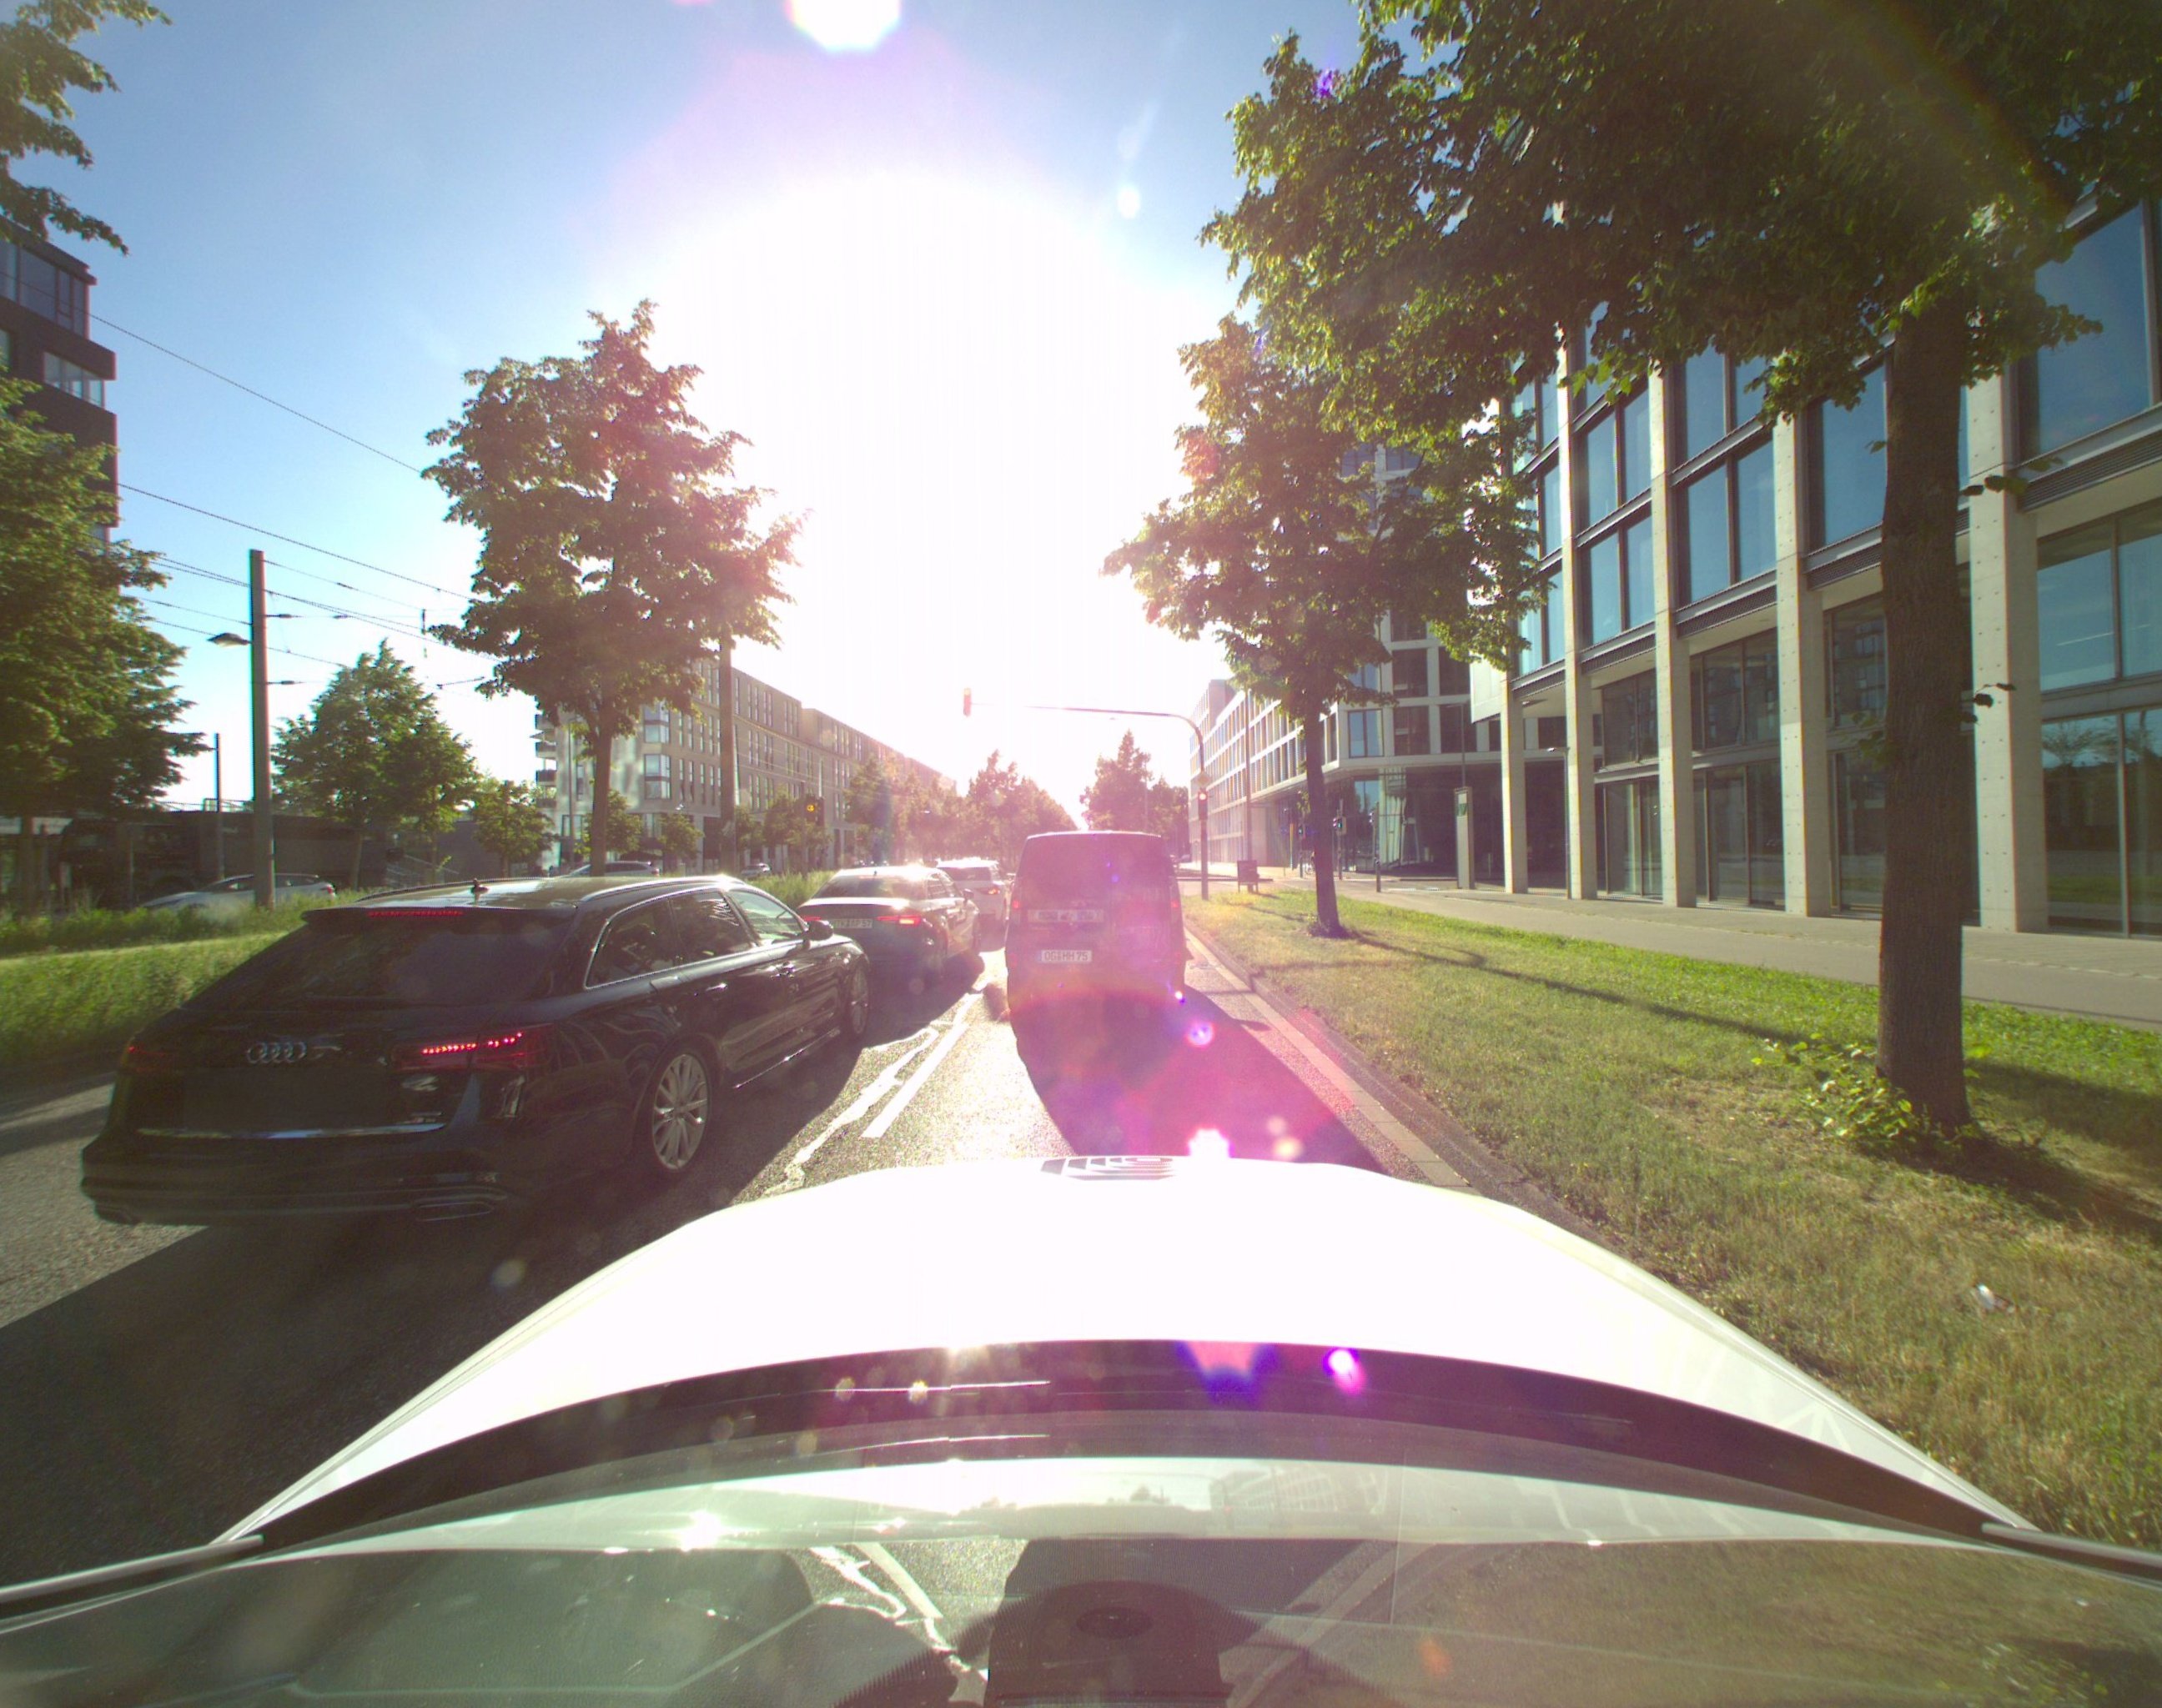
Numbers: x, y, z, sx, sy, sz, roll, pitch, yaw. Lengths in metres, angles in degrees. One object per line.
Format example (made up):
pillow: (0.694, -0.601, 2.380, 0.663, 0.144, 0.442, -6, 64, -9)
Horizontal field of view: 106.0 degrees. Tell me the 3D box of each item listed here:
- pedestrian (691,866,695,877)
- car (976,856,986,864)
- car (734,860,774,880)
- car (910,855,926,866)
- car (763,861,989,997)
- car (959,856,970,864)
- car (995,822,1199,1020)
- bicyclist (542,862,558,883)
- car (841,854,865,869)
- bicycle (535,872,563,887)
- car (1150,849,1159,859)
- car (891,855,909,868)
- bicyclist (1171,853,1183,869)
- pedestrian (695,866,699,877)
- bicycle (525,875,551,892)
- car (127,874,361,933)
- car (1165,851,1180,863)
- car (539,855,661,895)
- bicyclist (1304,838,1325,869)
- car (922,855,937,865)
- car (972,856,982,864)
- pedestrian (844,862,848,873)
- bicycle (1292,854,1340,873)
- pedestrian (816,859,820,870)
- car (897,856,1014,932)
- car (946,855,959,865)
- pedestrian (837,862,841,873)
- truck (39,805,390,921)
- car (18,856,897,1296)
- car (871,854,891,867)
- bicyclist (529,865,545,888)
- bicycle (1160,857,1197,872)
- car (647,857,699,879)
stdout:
pedestrian: (-40.280, 1.831, 84.497, 0.253, 1.085, 0.260, -1, 0, 1)
car: (-27.440, 1.576, 223.818, 1.986, 2.013, 4.002, -1, 0, 2)
car: (-31.800, 1.535, 79.251, 1.986, 1.814, 4.372, -1, 0, 2)
car: (-30.107, 1.135, 150.290, 1.986, 2.013, 4.002, -1, 0, 2)
car: (-2.496, 0.844, 11.111, 1.835, 1.426, 4.340, -1, 0, 2)
car: (-28.609, 1.429, 200.189, 1.986, 2.013, 4.002, -1, 0, 2)
car: (0.211, 0.610, 9.455, 1.835, 1.780, 4.002, -1, 0, 2)
bicyclist: (-37.999, 1.319, 58.281, 0.674, 1.529, 0.714, -1, 0, 1)
car: (-30.882, 0.990, 110.600, 1.986, 2.013, 4.002, -1, 0, 2)
bicycle: (-37.997, 1.799, 58.190, 0.674, 0.988, 1.957, -1, 0, 2)
car: (17.893, 0.040, 198.184, 1.986, 2.497, 4.988, -1, 0, 2)
car: (-30.586, 1.278, 137.462, 1.986, 2.013, 4.002, -1, 0, 2)
bicyclist: (7.711, 0.580, 65.468, 0.681, 1.275, 0.817, -1, 0, -14)
pedestrian: (-39.874, 1.846, 84.655, 0.253, 1.085, 0.289, -1, 0, 1)
bicycle: (-35.046, 1.890, 52.587, 0.475, 1.035, 1.757, -1, 0, 2)
car: (-25.167, 1.429, 24.724, 1.782, 1.447, 4.596, -1, 0, 26)
car: (14.325, 0.440, 127.863, 1.986, 1.782, 4.002, -1, 0, 2)
car: (-20.310, 0.852, 34.480, 4.237, 1.492, 1.502, -1, 0, -40)
bicyclist: (15.137, -0.040, 52.702, 0.989, 1.947, 0.823, -2, 0, 43)
car: (-29.694, 1.191, 159.387, 1.986, 2.013, 4.002, -1, 0, 2)
car: (-27.897, 1.538, 218.202, 1.986, 2.013, 4.002, -1, 0, 2)
pedestrian: (-39.369, 2.262, 136.400, 0.466, 1.744, 0.480, -1, 0, 1)
bicycle: (15.166, 0.605, 52.683, 2.914, 1.190, 0.823, -1, 0, 44)
pedestrian: (-37.551, 1.487, 116.302, 0.465, 1.438, 0.385, -1, 0, -28)
car: (-2.599, 0.785, 17.763, 1.797, 1.426, 3.902, -1, 0, 2)
car: (-28.899, 1.334, 183.370, 1.986, 2.013, 4.002, -1, 0, 2)
pedestrian: (-39.329, 2.243, 132.570, 0.466, 1.744, 0.480, -1, 0, 1)
truck: (-33.633, 0.287, 32.652, 2.880, 3.853, 10.217, -1, 0, 2)
car: (-2.758, 0.786, 5.350, 1.868, 1.484, 4.967, -1, 0, 1)
car: (-30.756, 0.989, 125.146, 1.986, 2.013, 4.002, -1, 0, 2)
bicyclist: (-35.062, 1.436, 52.487, 0.475, 1.424, 0.821, -1, 0, 2)
bicycle: (7.826, 0.861, 65.420, 2.817, 1.114, 0.823, -1, 0, 12)
car: (-31.047, 1.038, 62.079, 1.758, 1.520, 4.002, -1, 0, 2)
